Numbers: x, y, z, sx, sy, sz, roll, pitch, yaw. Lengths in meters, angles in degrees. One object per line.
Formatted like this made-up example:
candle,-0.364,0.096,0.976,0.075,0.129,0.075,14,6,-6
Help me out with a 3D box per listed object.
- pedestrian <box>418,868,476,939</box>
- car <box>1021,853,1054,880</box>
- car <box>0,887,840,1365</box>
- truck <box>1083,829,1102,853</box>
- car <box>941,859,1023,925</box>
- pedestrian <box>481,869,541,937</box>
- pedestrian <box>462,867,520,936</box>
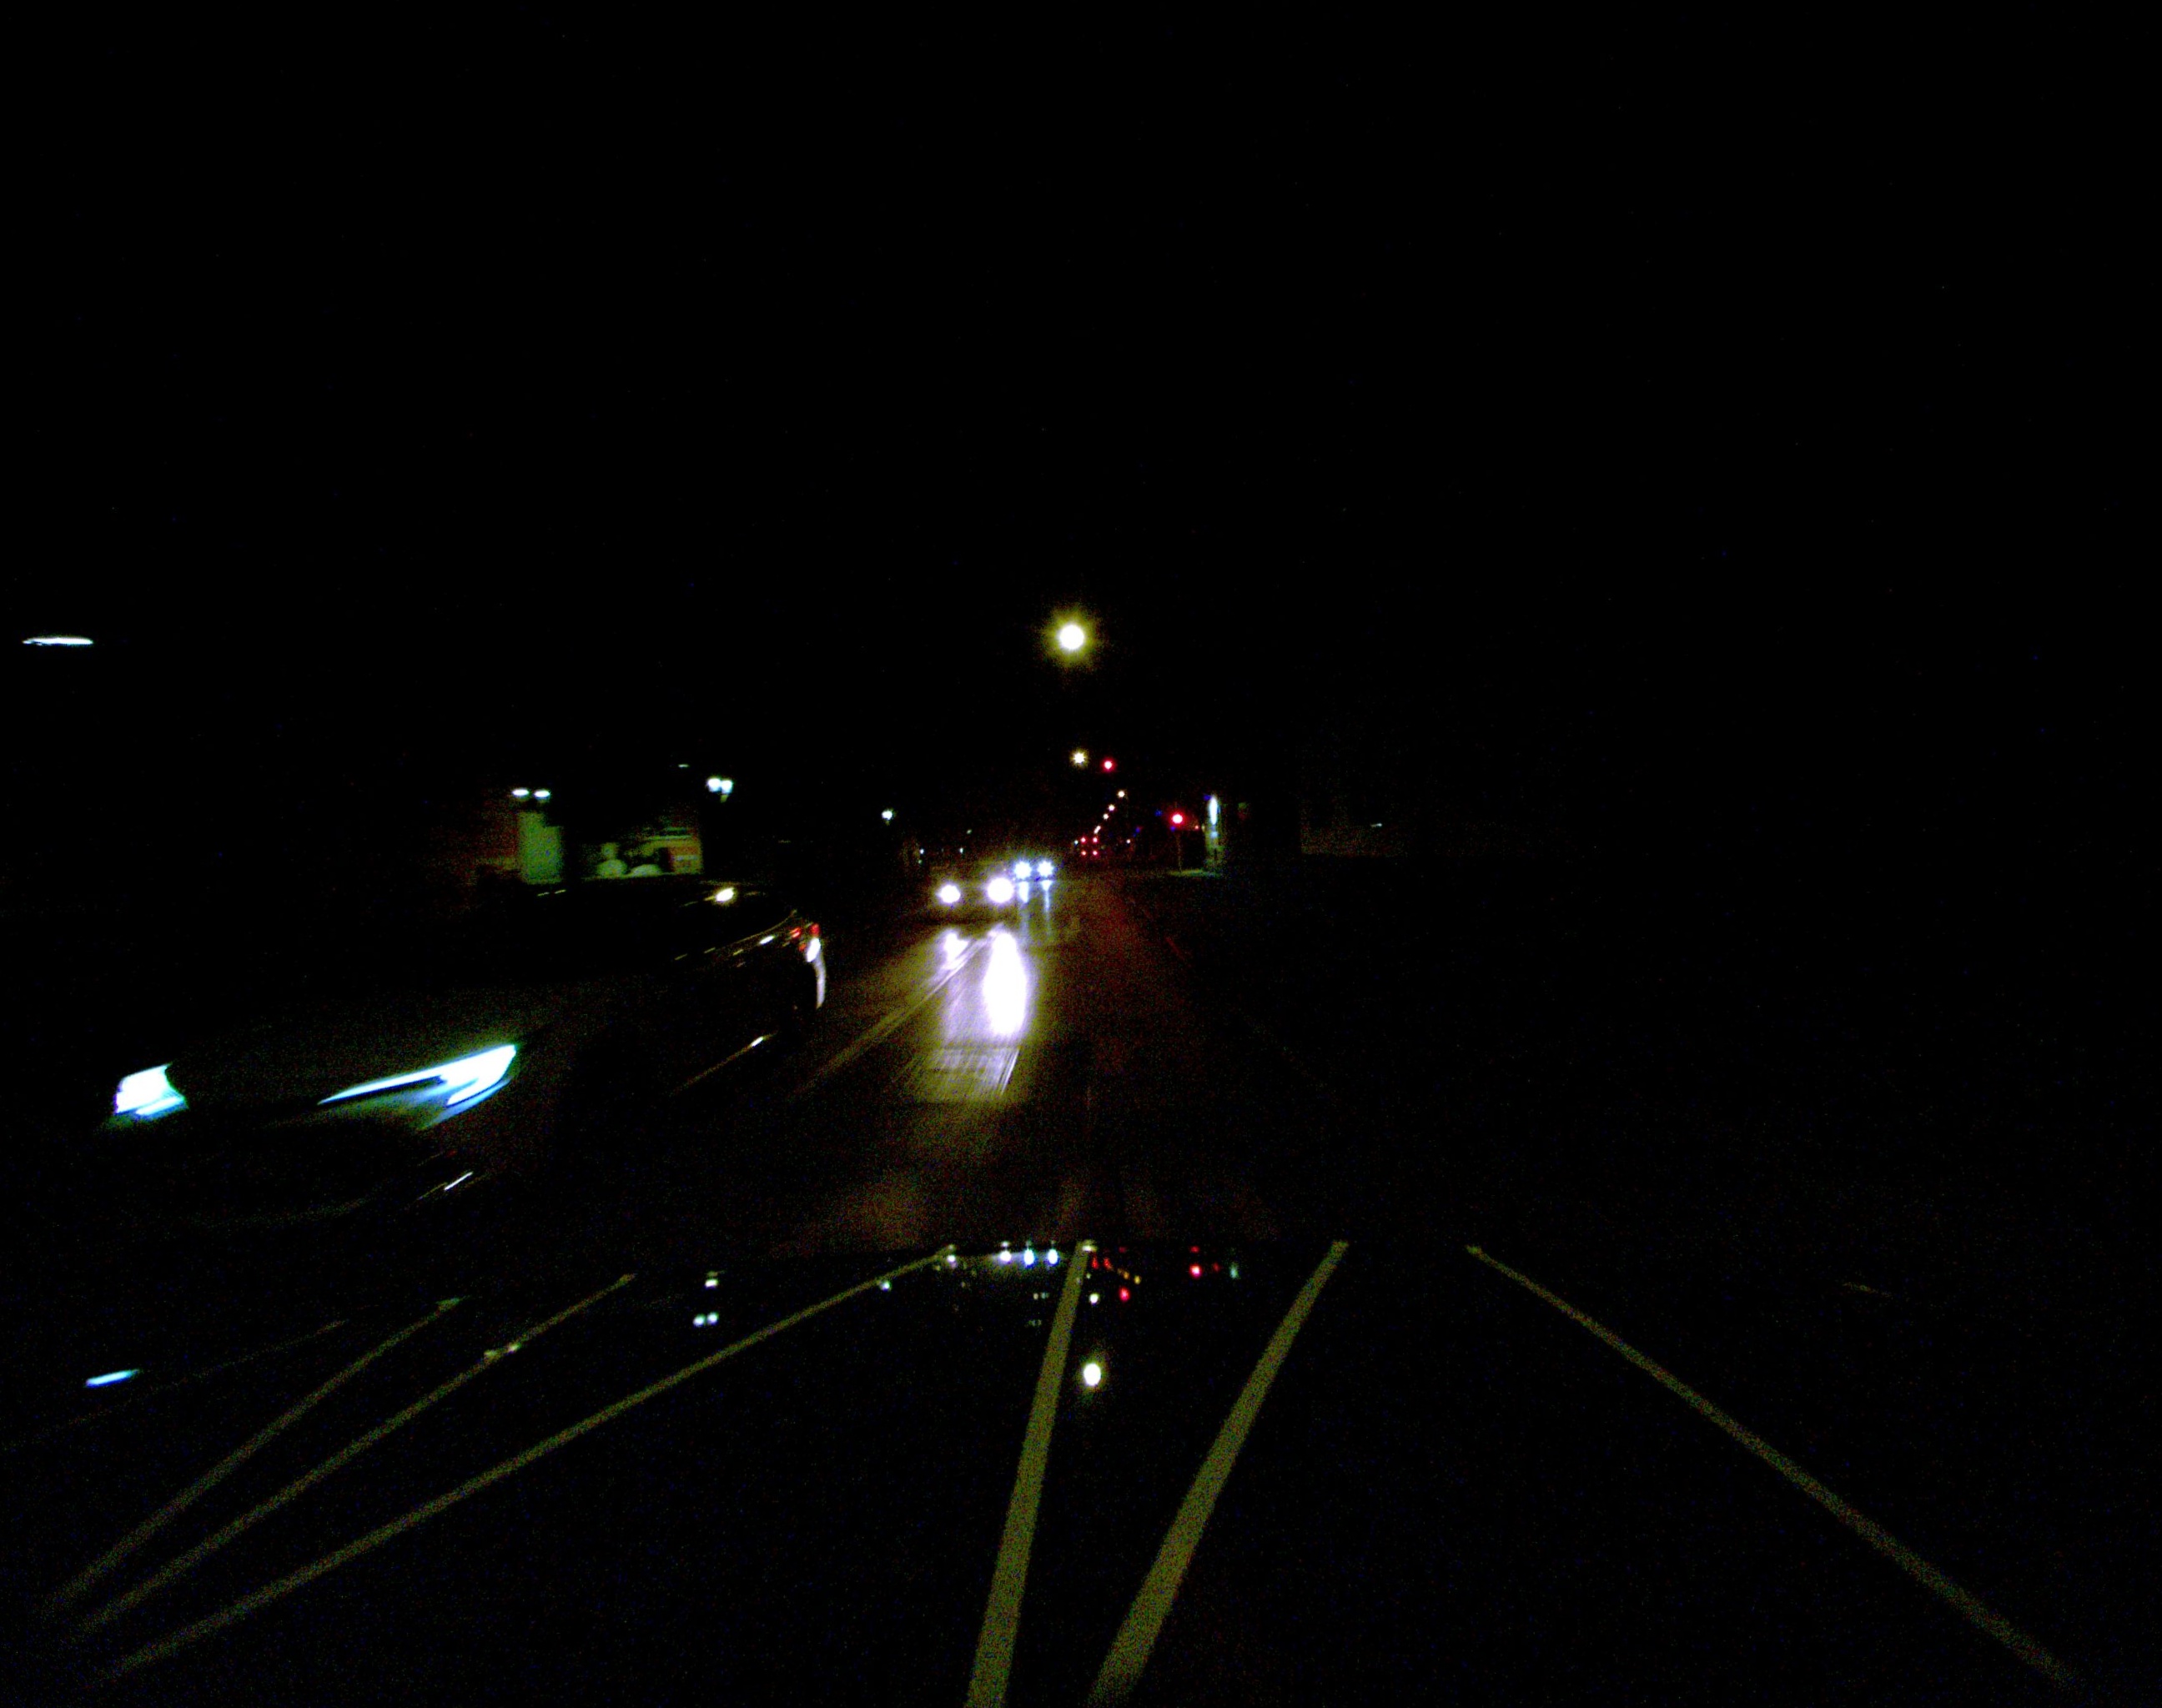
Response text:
pedestrian,-16.685,1.288,20.019,0.675,1.806,0.906,-2,1,1
car,-2.632,0.745,47.112,1.729,1.455,3.999,-4,1,0
car,-3.230,1.086,4.986,1.729,1.421,4.498,-3,0,1
truck,2.366,-2.602,156.971,3.516,4.558,9.039,-4,1,0
car,-2.542,0.942,20.347,1.634,1.430,3.839,-4,1,0
pedestrian,-14.948,1.266,19.946,0.737,1.707,0.985,-2,1,1
pedestrian,-15.768,1.253,20.325,0.721,1.778,0.970,-2,1,1
